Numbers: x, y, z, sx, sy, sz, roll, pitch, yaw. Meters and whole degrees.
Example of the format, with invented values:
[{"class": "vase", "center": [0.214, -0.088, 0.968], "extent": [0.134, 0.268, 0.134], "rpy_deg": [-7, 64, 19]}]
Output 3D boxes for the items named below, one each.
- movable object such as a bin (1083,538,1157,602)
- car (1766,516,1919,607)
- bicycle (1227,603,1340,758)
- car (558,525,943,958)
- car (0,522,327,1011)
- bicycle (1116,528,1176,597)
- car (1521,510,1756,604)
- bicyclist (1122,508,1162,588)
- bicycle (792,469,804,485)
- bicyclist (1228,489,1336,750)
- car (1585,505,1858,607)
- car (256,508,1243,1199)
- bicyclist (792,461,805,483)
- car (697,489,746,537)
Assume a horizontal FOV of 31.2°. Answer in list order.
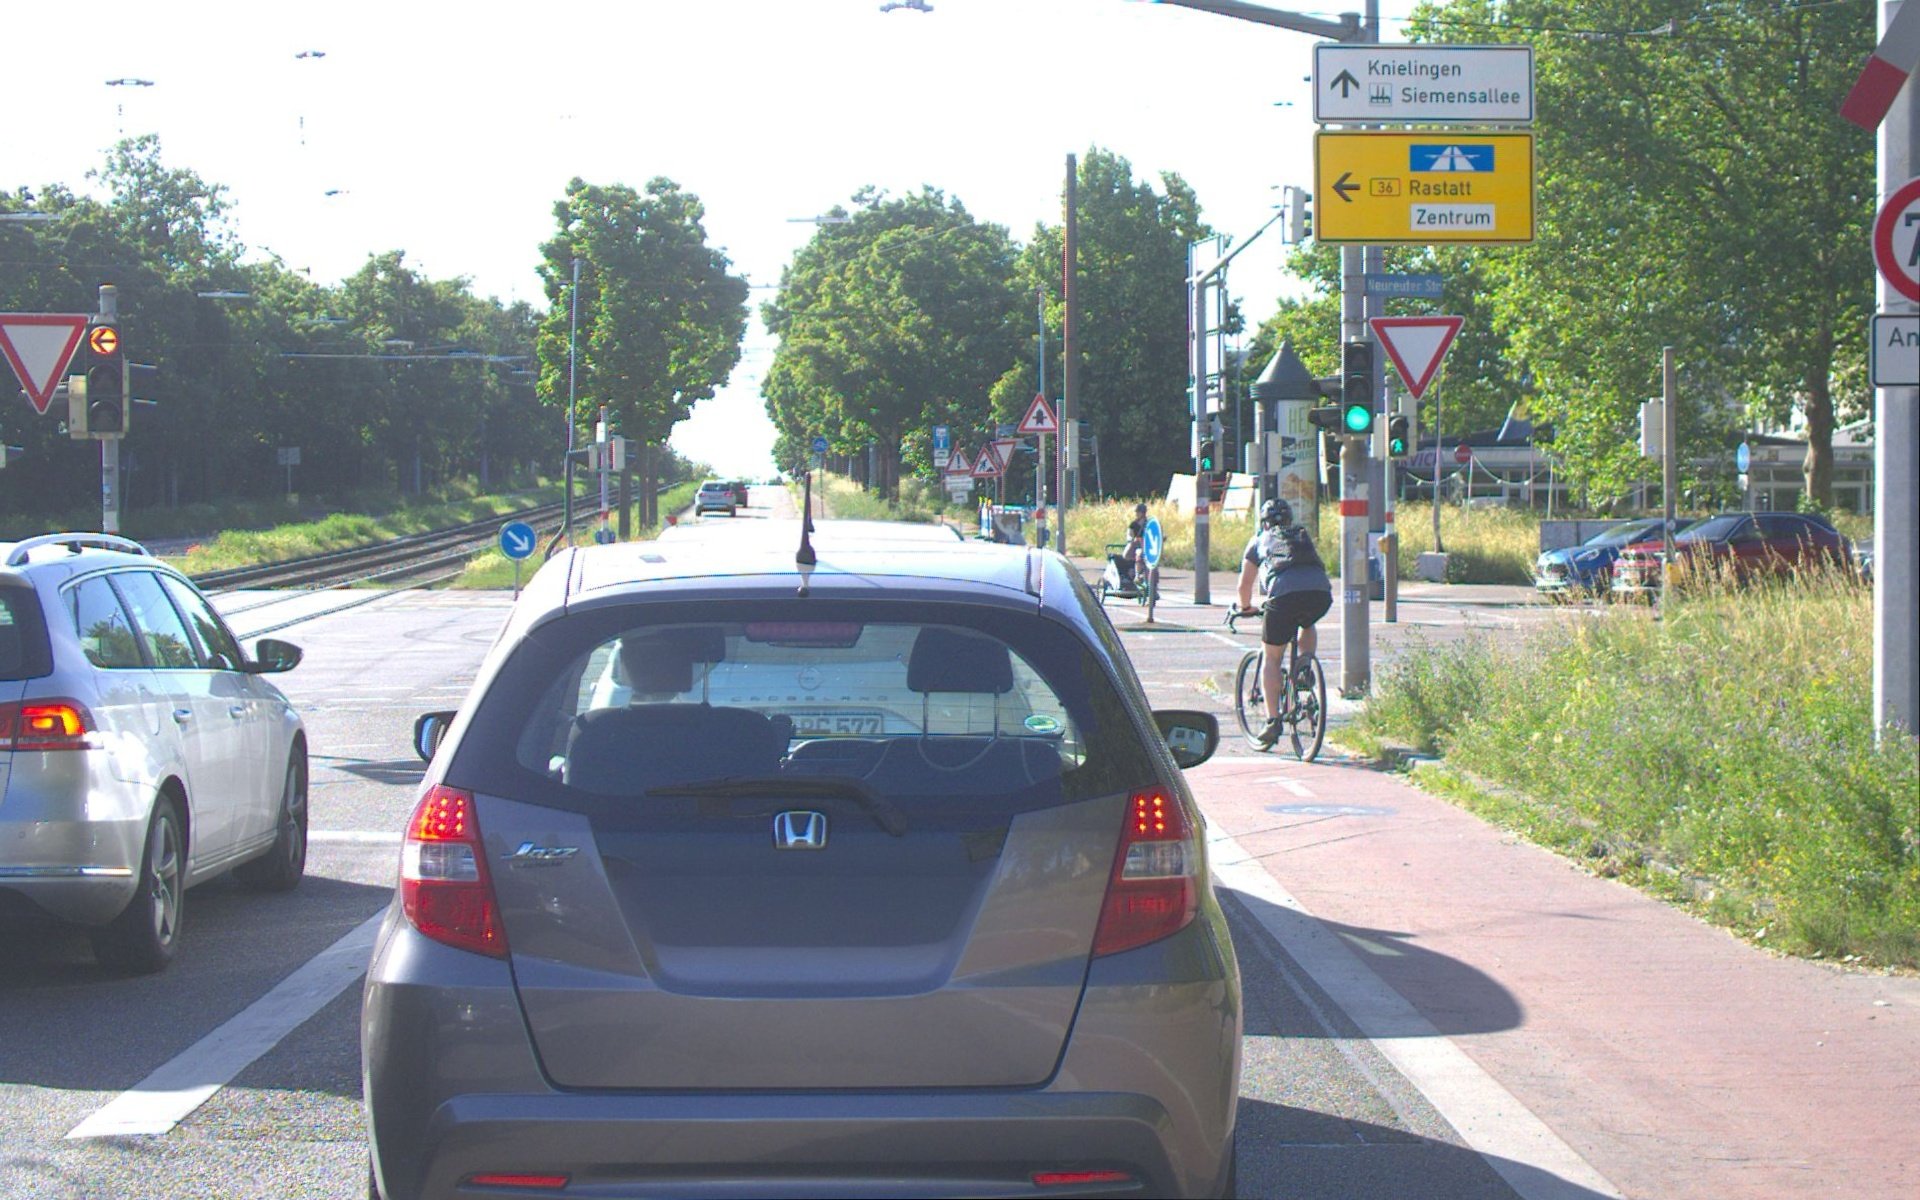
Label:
[{"class": "movable object such as a bin", "center": [2.727, -0.522, 58.626], "extent": [0.908, 1.065, 1.317], "rpy_deg": [0, 1, -14]}, {"class": "car", "center": [16.793, -0.729, 62.831], "extent": [3.847, 1.595, 1.713], "rpy_deg": [-1, 1, -29]}, {"class": "bicycle", "center": [2.113, 0.507, 22.645], "extent": [0.524, 0.920, 2.089], "rpy_deg": [0, 1, -1]}, {"class": "car", "center": [-0.798, 0.466, 13.760], "extent": [1.351, 1.522, 3.124], "rpy_deg": [0, 1, -2]}, {"class": "car", "center": [-3.649, 0.475, 12.887], "extent": [1.877, 1.522, 4.421], "rpy_deg": [0, 1, -2]}, {"class": "bicycle", "center": [3.065, -0.624, 56.863], "extent": [0.466, 1.115, 1.821], "rpy_deg": [0, 2, -14]}, {"class": "car", "center": [11.884, -0.770, 60.182], "extent": [3.847, 1.595, 1.713], "rpy_deg": [-1, 1, -29]}, {"class": "bicyclist", "center": [3.035, -0.870, 57.317], "extent": [0.509, 1.336, 0.565], "rpy_deg": [-1, 1, -15]}, {"class": "bicycle", "center": [-11.267, -8.562, 239.480], "extent": [0.817, 1.044, 2.506], "rpy_deg": [1, 1, -2]}, {"class": "bicyclist", "center": [2.108, 0.115, 22.587], "extent": [0.615, 1.673, 0.933], "rpy_deg": [0, 1, 0]}, {"class": "car", "center": [12.406, -0.736, 56.008], "extent": [4.076, 1.595, 1.817], "rpy_deg": [-1, 1, -25]}, {"class": "car", "center": [-0.376, 0.563, 7.695], "extent": [1.670, 1.510, 3.674], "rpy_deg": [0, 1, -1]}, {"class": "bicyclist", "center": [-11.253, -8.924, 239.495], "extent": [0.817, 1.519, 0.966], "rpy_deg": [1, 0, -2]}, {"class": "car", "center": [-10.386, -3.776, 149.973], "extent": [1.993, 2.007, 4.000], "rpy_deg": [1, 1, -2]}]
